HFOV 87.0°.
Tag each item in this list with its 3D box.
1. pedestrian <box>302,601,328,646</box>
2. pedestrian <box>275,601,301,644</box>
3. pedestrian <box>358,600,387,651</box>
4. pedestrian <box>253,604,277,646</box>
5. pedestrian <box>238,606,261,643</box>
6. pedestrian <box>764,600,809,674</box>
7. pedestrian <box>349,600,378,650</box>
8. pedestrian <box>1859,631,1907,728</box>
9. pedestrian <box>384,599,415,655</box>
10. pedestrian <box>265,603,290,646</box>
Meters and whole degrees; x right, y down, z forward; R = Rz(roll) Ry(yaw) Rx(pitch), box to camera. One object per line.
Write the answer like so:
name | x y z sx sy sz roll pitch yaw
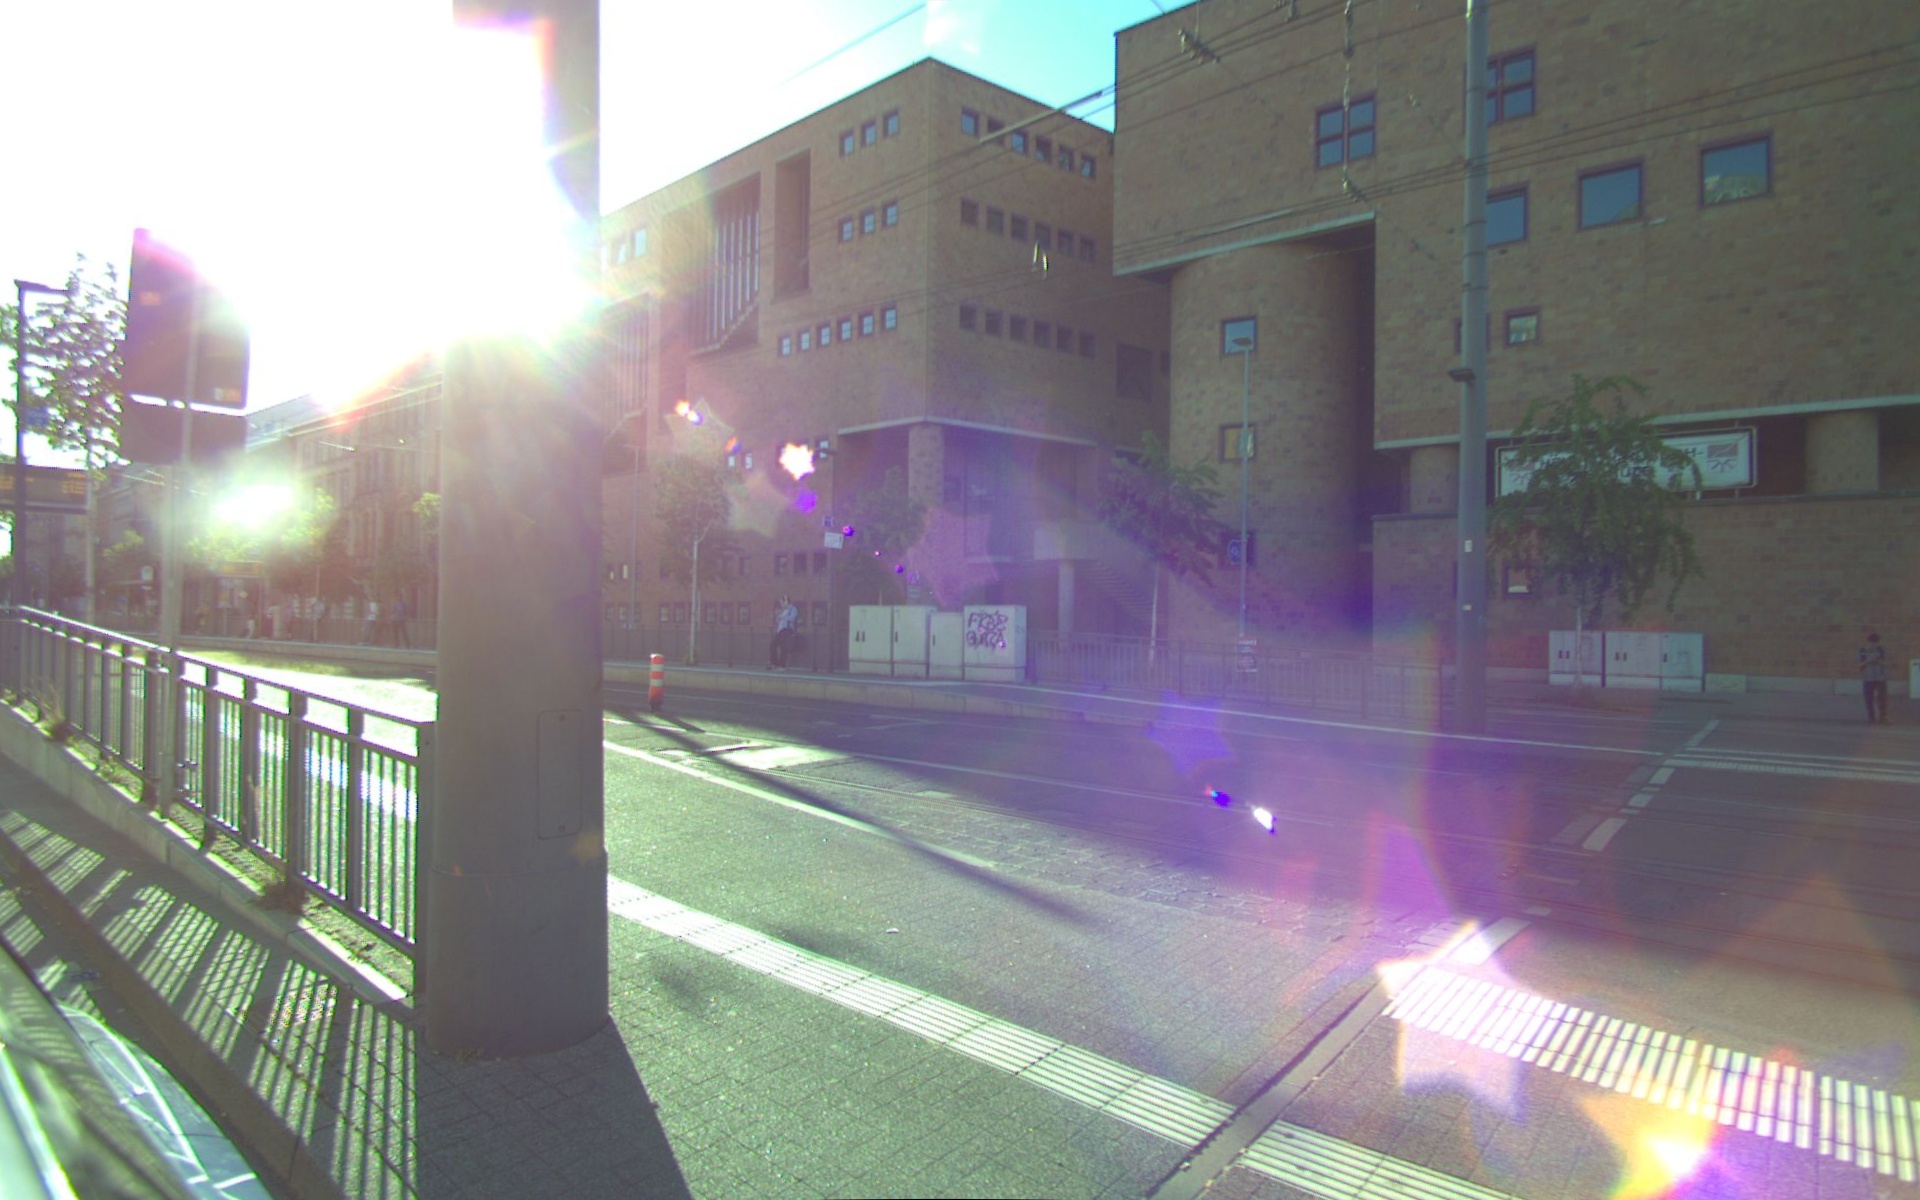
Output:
pedestrian | -25.310 0.912 39.718 0.585 1.756 0.684 -1 -2 38
pedestrian | -27.429 0.923 41.312 0.585 1.756 0.684 -1 -2 38
pedestrian | -20.626 0.886 35.538 0.585 1.756 0.684 -1 -2 38
pedestrian | -29.558 1.075 43.054 0.585 1.756 0.684 -1 -2 38
pedestrian | -31.452 1.086 44.797 0.585 1.587 0.684 -1 -2 38
pedestrian | -3.711 0.788 21.684 0.653 1.546 0.693 -1 -2 38
pedestrian | -21.169 0.889 35.938 0.585 1.756 0.684 -1 -2 38
pedestrian | 16.007 1.357 17.558 0.503 1.629 0.504 0 0 30
pedestrian | -18.055 0.870 32.605 0.585 1.756 0.684 -1 -2 38
pedestrian | -28.454 1.013 42.196 0.585 1.756 0.684 -1 -2 38
